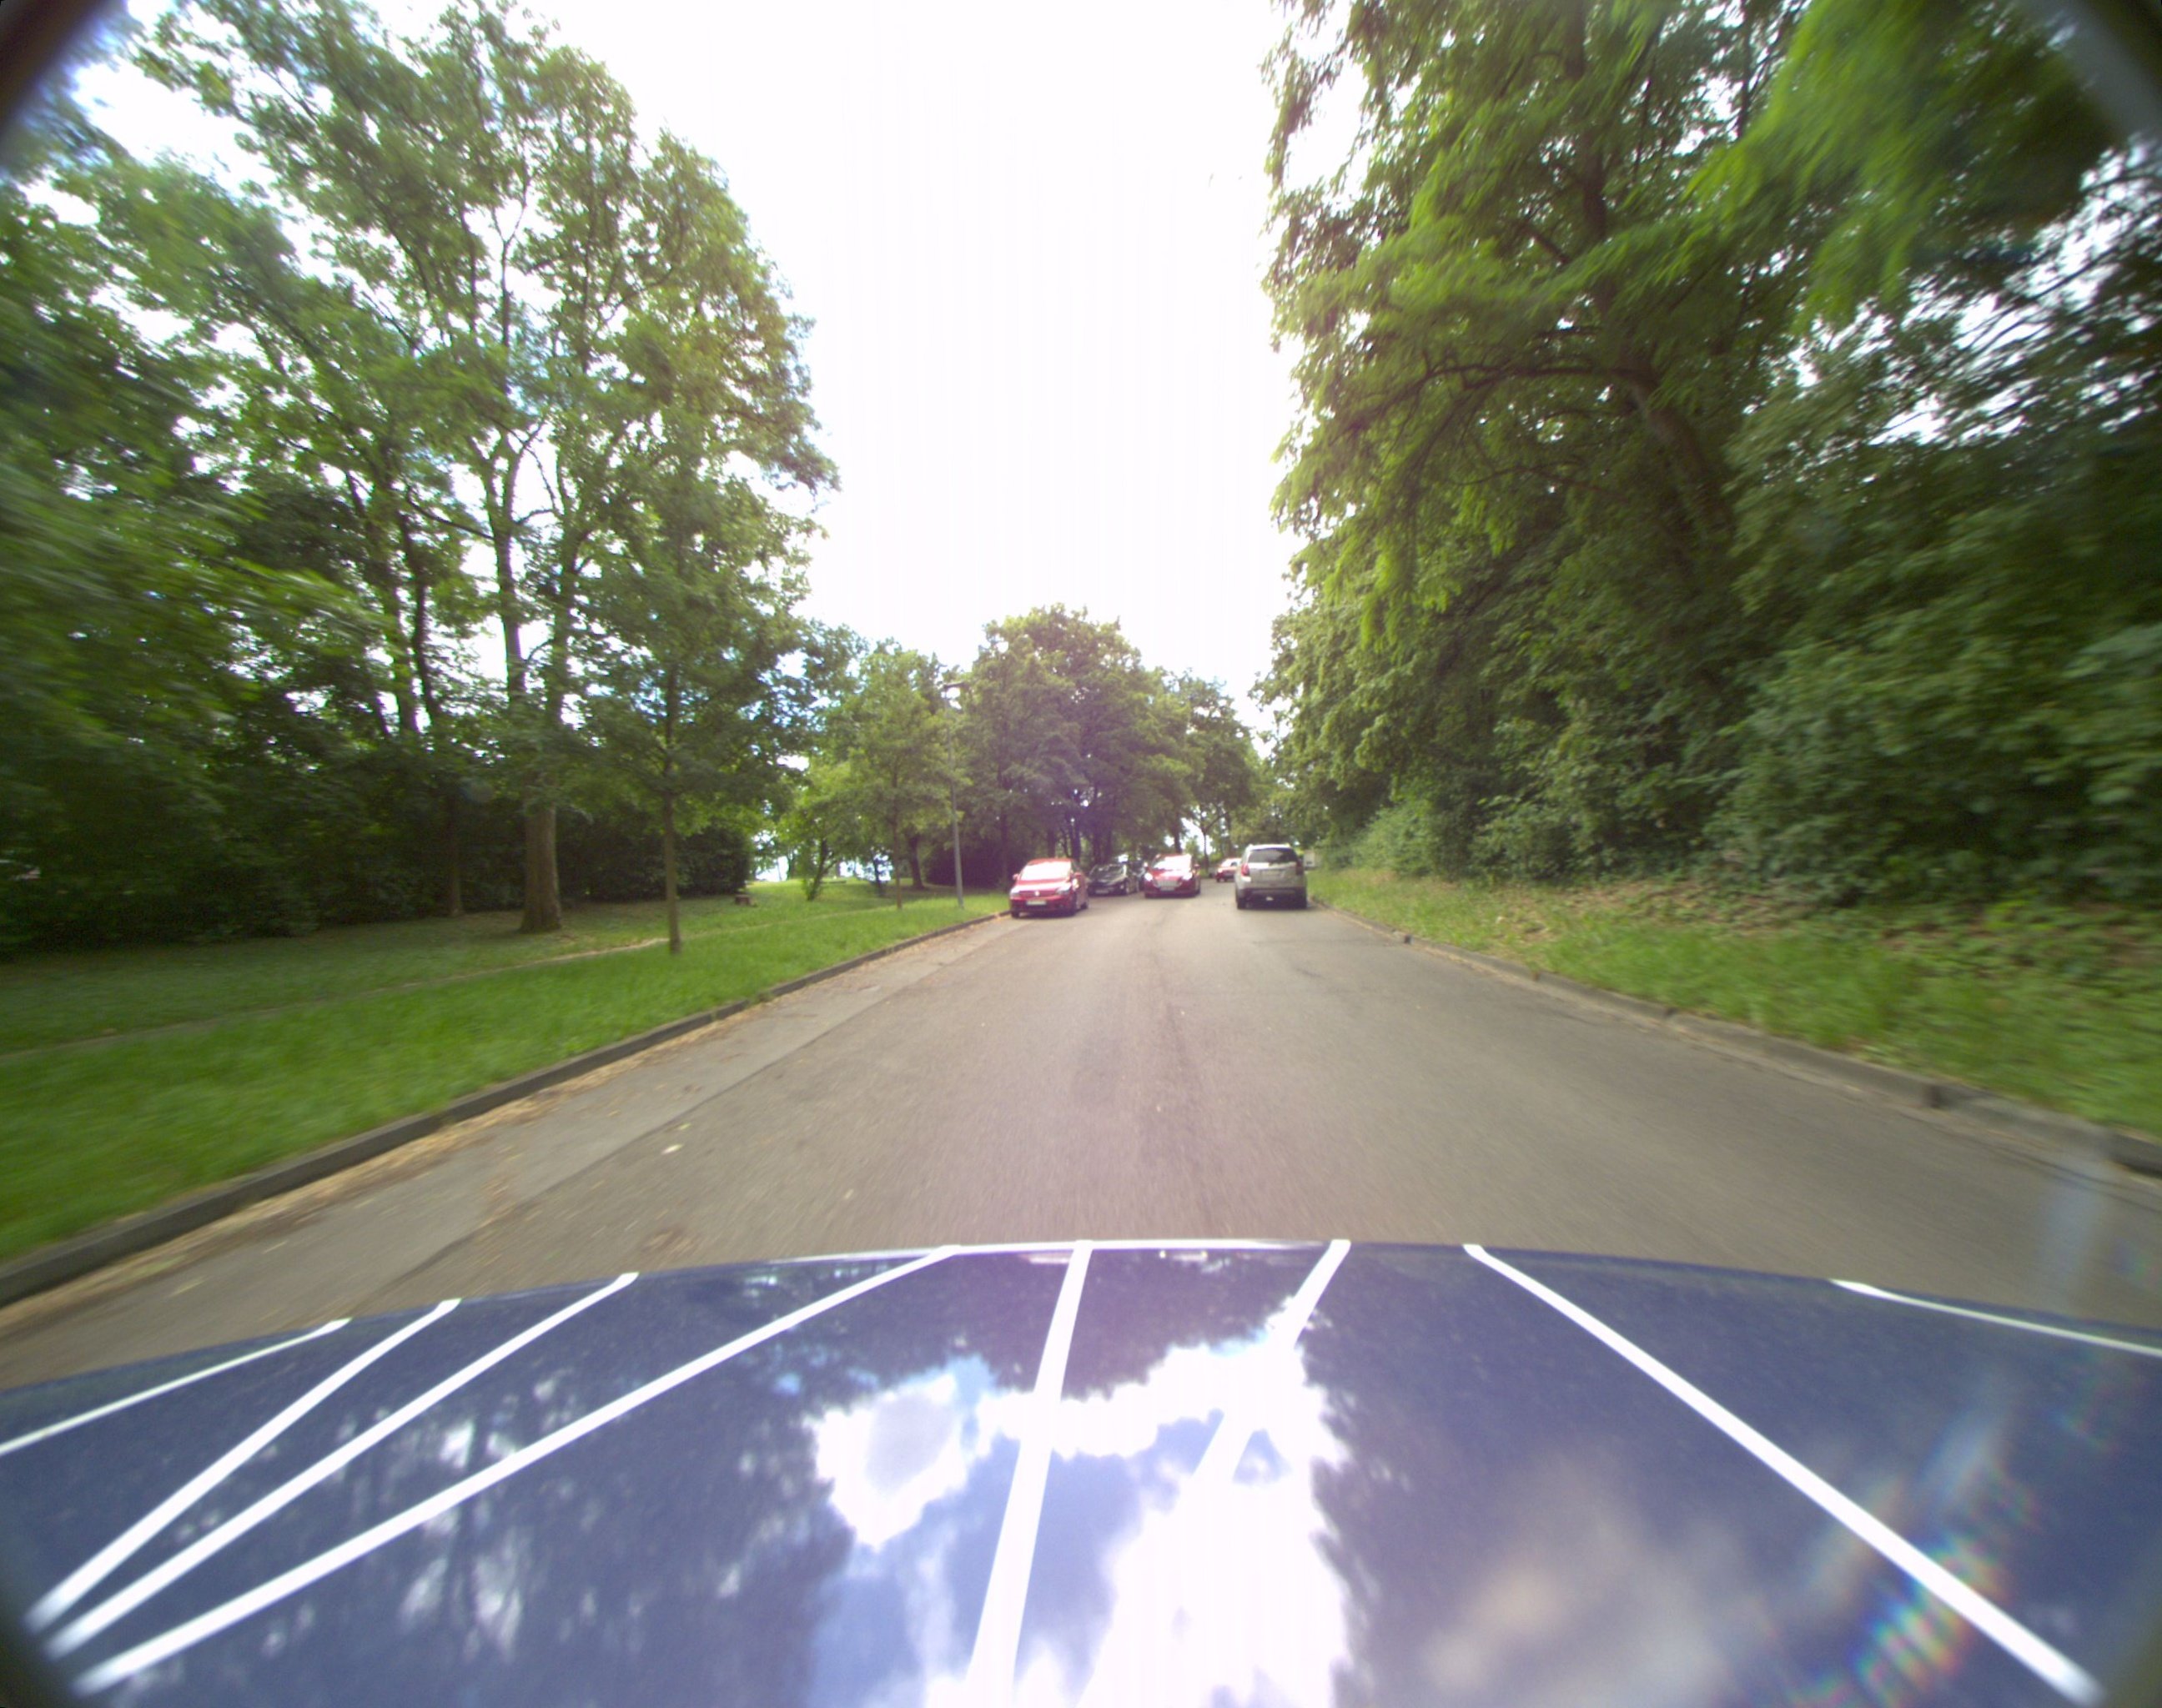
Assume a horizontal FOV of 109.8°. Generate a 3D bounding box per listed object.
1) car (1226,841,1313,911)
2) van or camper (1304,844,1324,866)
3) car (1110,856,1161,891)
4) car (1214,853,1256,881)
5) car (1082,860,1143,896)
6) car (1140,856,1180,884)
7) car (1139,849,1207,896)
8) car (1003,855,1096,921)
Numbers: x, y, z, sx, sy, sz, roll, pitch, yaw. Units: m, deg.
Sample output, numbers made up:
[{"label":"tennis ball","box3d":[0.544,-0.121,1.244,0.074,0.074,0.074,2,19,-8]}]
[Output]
[{"label":"car","box3d":[5.205,0.544,21.511,1.824,1.718,4.314,-2,0,7]},{"label":"van or camper","box3d":[26.975,0.096,87.853,1.996,2.330,5.035,-2,1,18]},{"label":"car","box3d":[2.788,0.915,37.686,1.713,1.502,4.681,-2,1,13]},{"label":"car","box3d":[9.610,0.767,47.245,1.955,1.464,4.682,-2,1,18]},{"label":"car","box3d":[1.448,0.977,32.802,1.713,1.249,4.681,-2,1,13]},{"label":"car","box3d":[4.724,0.911,44.813,1.713,1.413,4.681,-2,1,13]},{"label":"car","box3d":[3.674,0.657,29.611,2.001,1.599,4.681,-2,1,14]},{"label":"car","box3d":[-0.767,0.888,21.750,1.714,1.543,4.679,-2,1,9]}]
